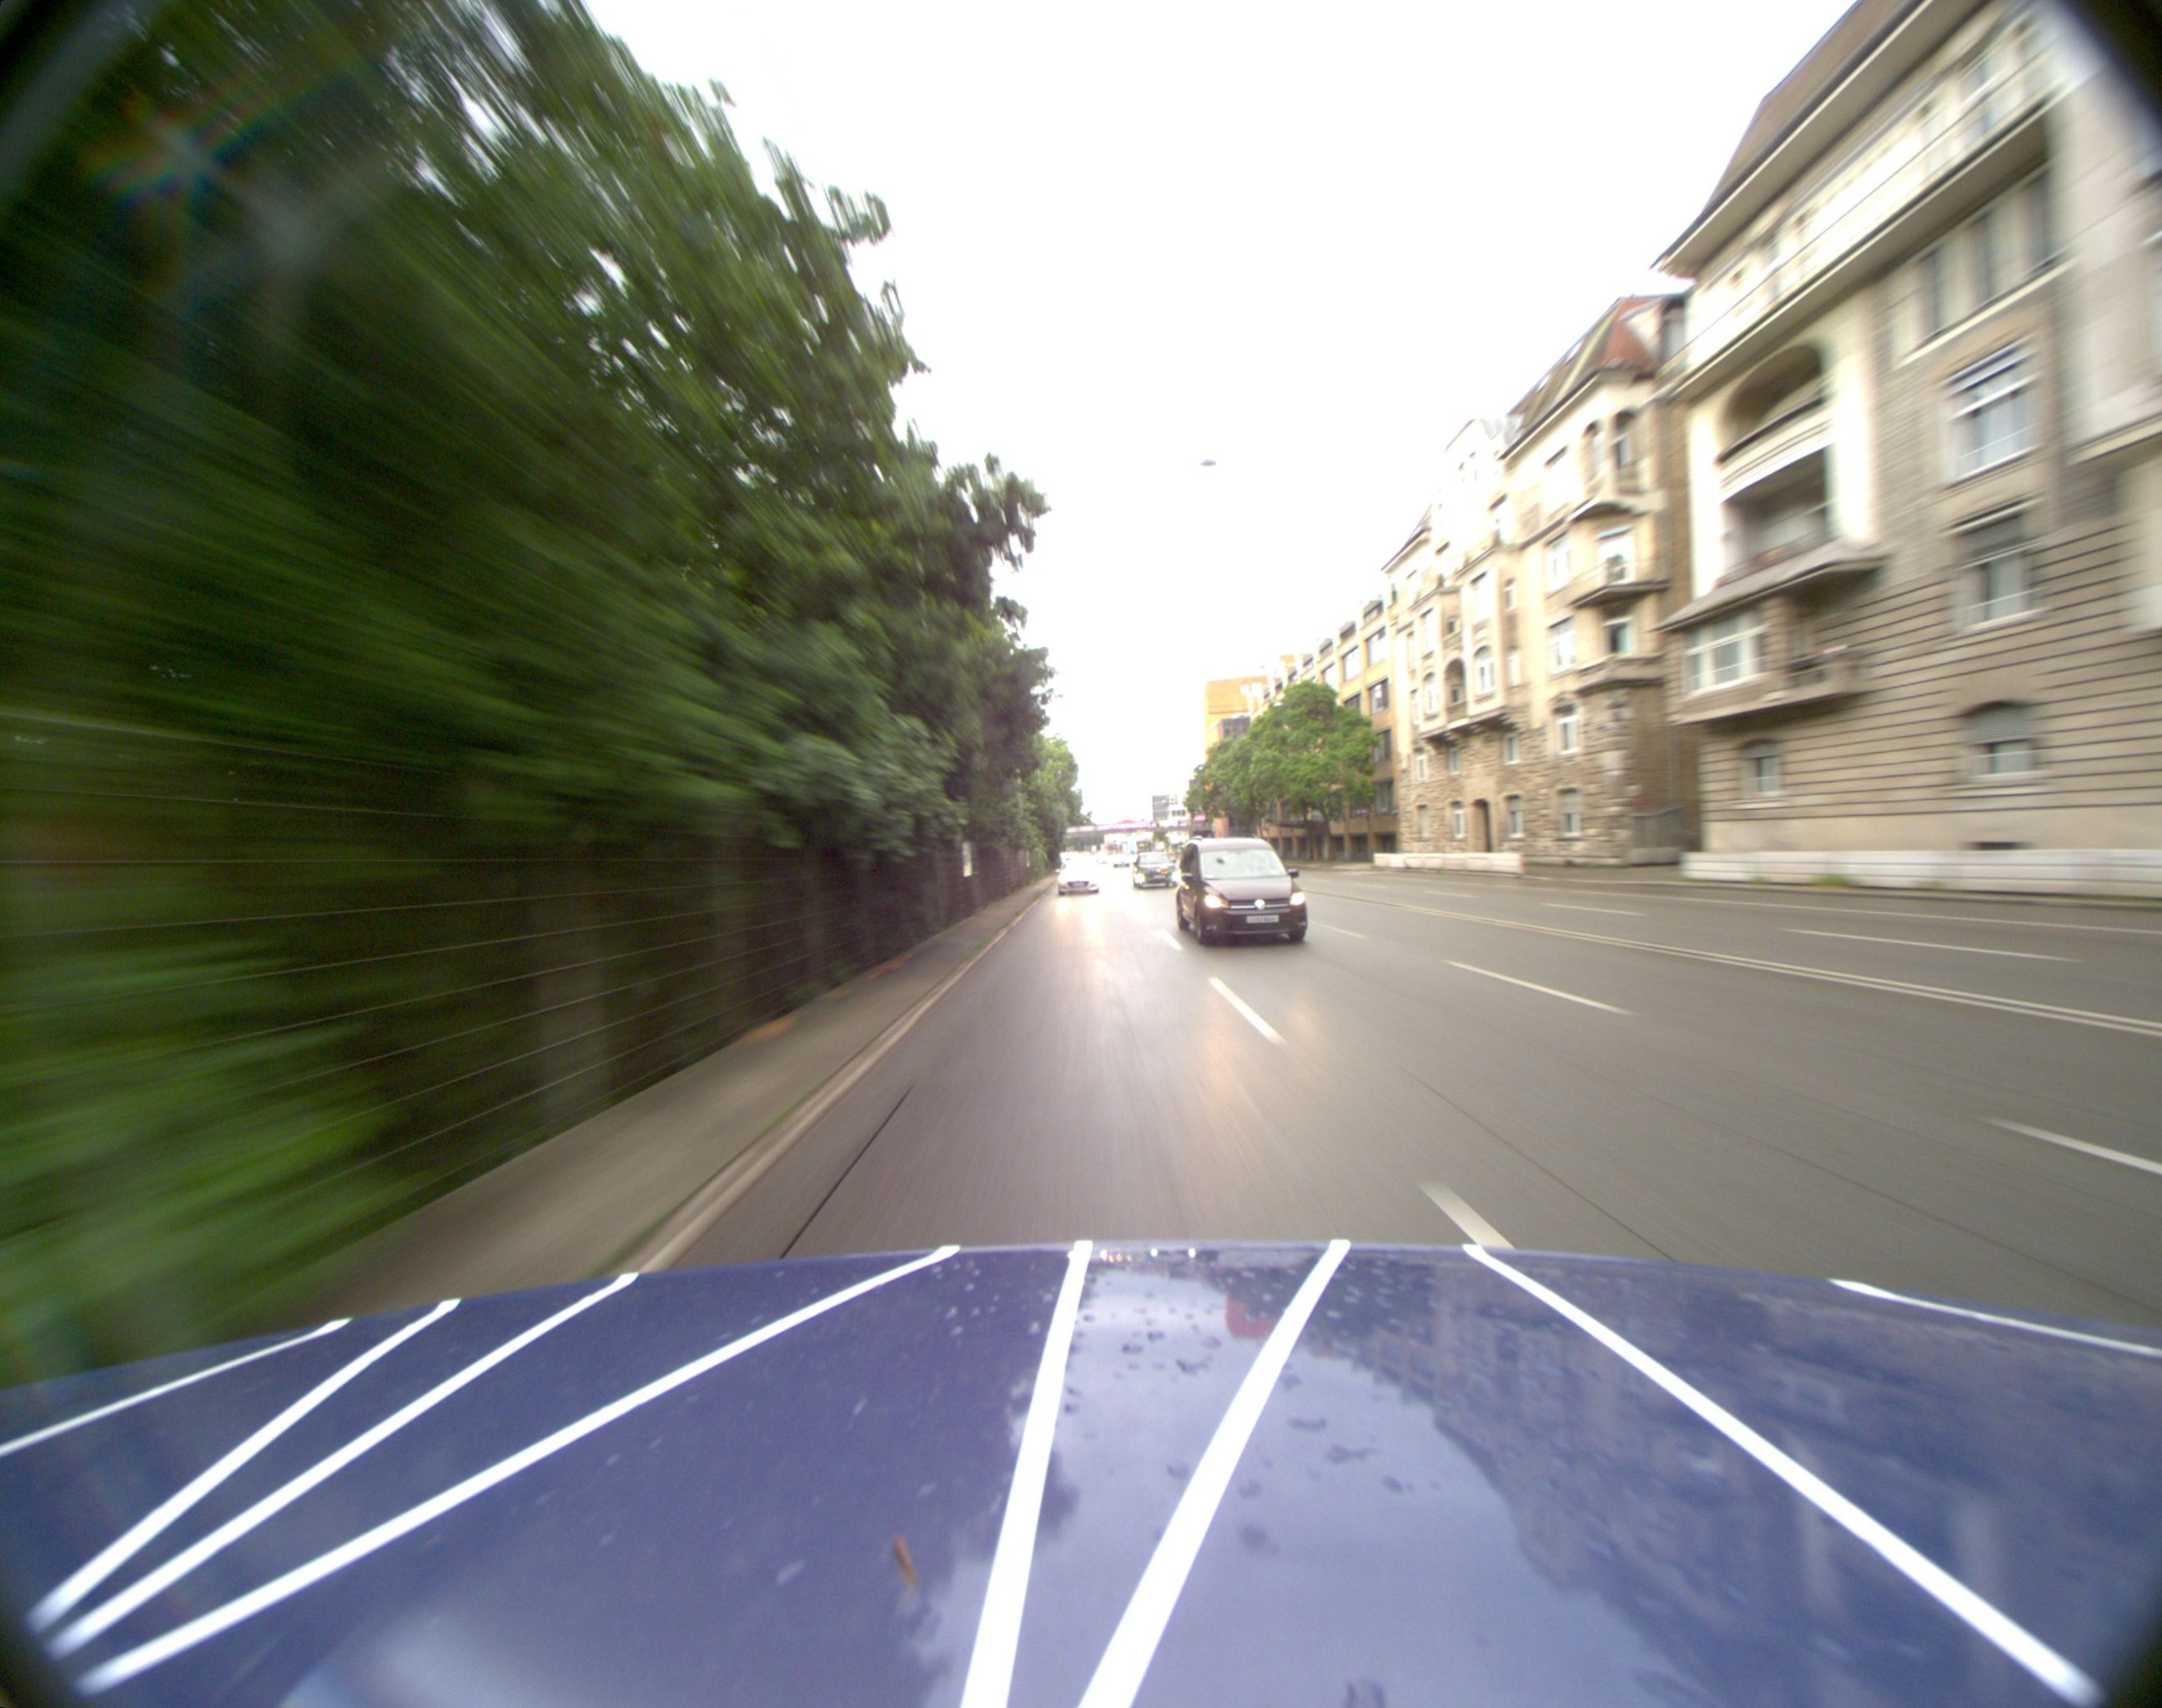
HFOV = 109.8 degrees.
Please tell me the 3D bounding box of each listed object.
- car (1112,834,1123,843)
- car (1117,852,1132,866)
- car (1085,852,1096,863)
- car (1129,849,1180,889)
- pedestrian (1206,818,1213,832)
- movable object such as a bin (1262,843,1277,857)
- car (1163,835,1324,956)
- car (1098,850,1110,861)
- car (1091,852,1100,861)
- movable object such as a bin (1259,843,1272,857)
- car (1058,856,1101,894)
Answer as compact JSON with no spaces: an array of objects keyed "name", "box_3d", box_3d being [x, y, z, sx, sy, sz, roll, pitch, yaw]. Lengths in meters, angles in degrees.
[{"name":"car","box_3d":[7.023,-3.013,146.119,1.824,1.602,4.000,-5,1,4]},{"name":"car","box_3d":[5.428,0.596,94.683,1.730,1.502,3.732,-4,1,4]},{"name":"car","box_3d":[1.885,0.686,149.440,1.878,1.762,3.999,-5,1,0]},{"name":"car","box_3d":[3.302,0.621,34.754,1.731,1.604,3.999,-4,1,-1]},{"name":"pedestrian","box_3d":[20.683,-4.696,122.480,0.833,2.242,0.738,-2,1,-6]},{"name":"movable object such as a bin","box_3d":[20.380,-0.448,82.126,1.071,1.428,1.372,-5,0,-5]},{"name":"car","box_3d":[2.718,0.642,13.650,1.842,1.780,3.999,-2,0,-2]},{"name":"car","box_3d":[4.145,0.205,136.057,1.878,1.762,3.999,-5,1,0]},{"name":"car","box_3d":[3.362,0.540,180.990,1.878,1.762,3.999,-5,1,0]},{"name":"movable object such as a bin","box_3d":[20.281,-0.435,83.477,0.976,1.428,1.313,-5,0,-5]},{"name":"car","box_3d":[-0.110,0.899,33.860,1.731,1.431,3.999,-4,1,-1]}]
